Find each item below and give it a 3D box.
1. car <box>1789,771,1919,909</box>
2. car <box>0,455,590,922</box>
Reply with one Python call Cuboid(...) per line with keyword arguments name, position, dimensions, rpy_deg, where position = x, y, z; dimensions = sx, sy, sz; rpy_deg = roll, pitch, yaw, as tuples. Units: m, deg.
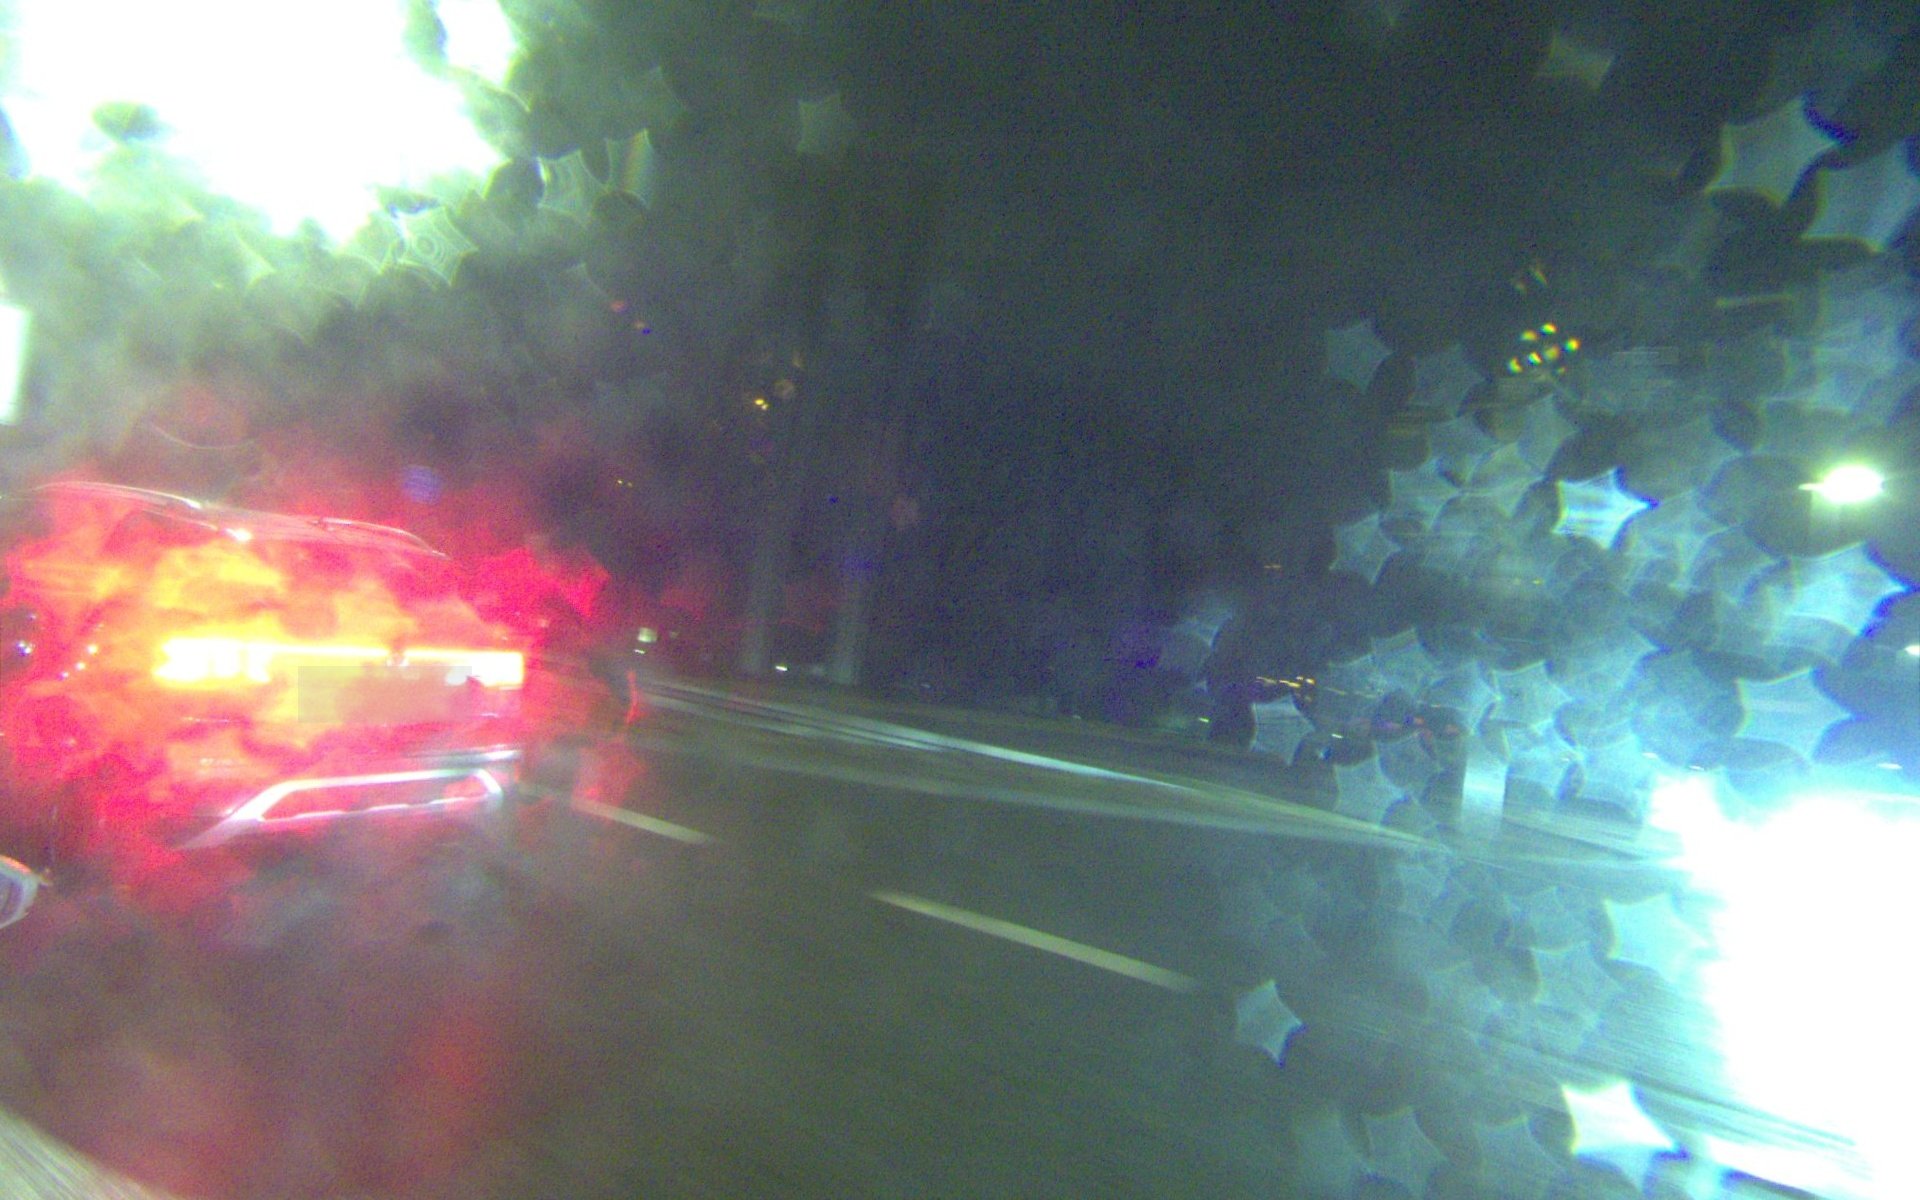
Cuboid(name="car", position=(13.752, 3.510, 14.665), dimensions=(4.153, 1.535, 1.836), rpy_deg=(11, -3, -41))
Cuboid(name="car", position=(-3.972, 0.247, 4.991), dimensions=(3.891, 1.537, 1.683), rpy_deg=(5, -4, 28))
